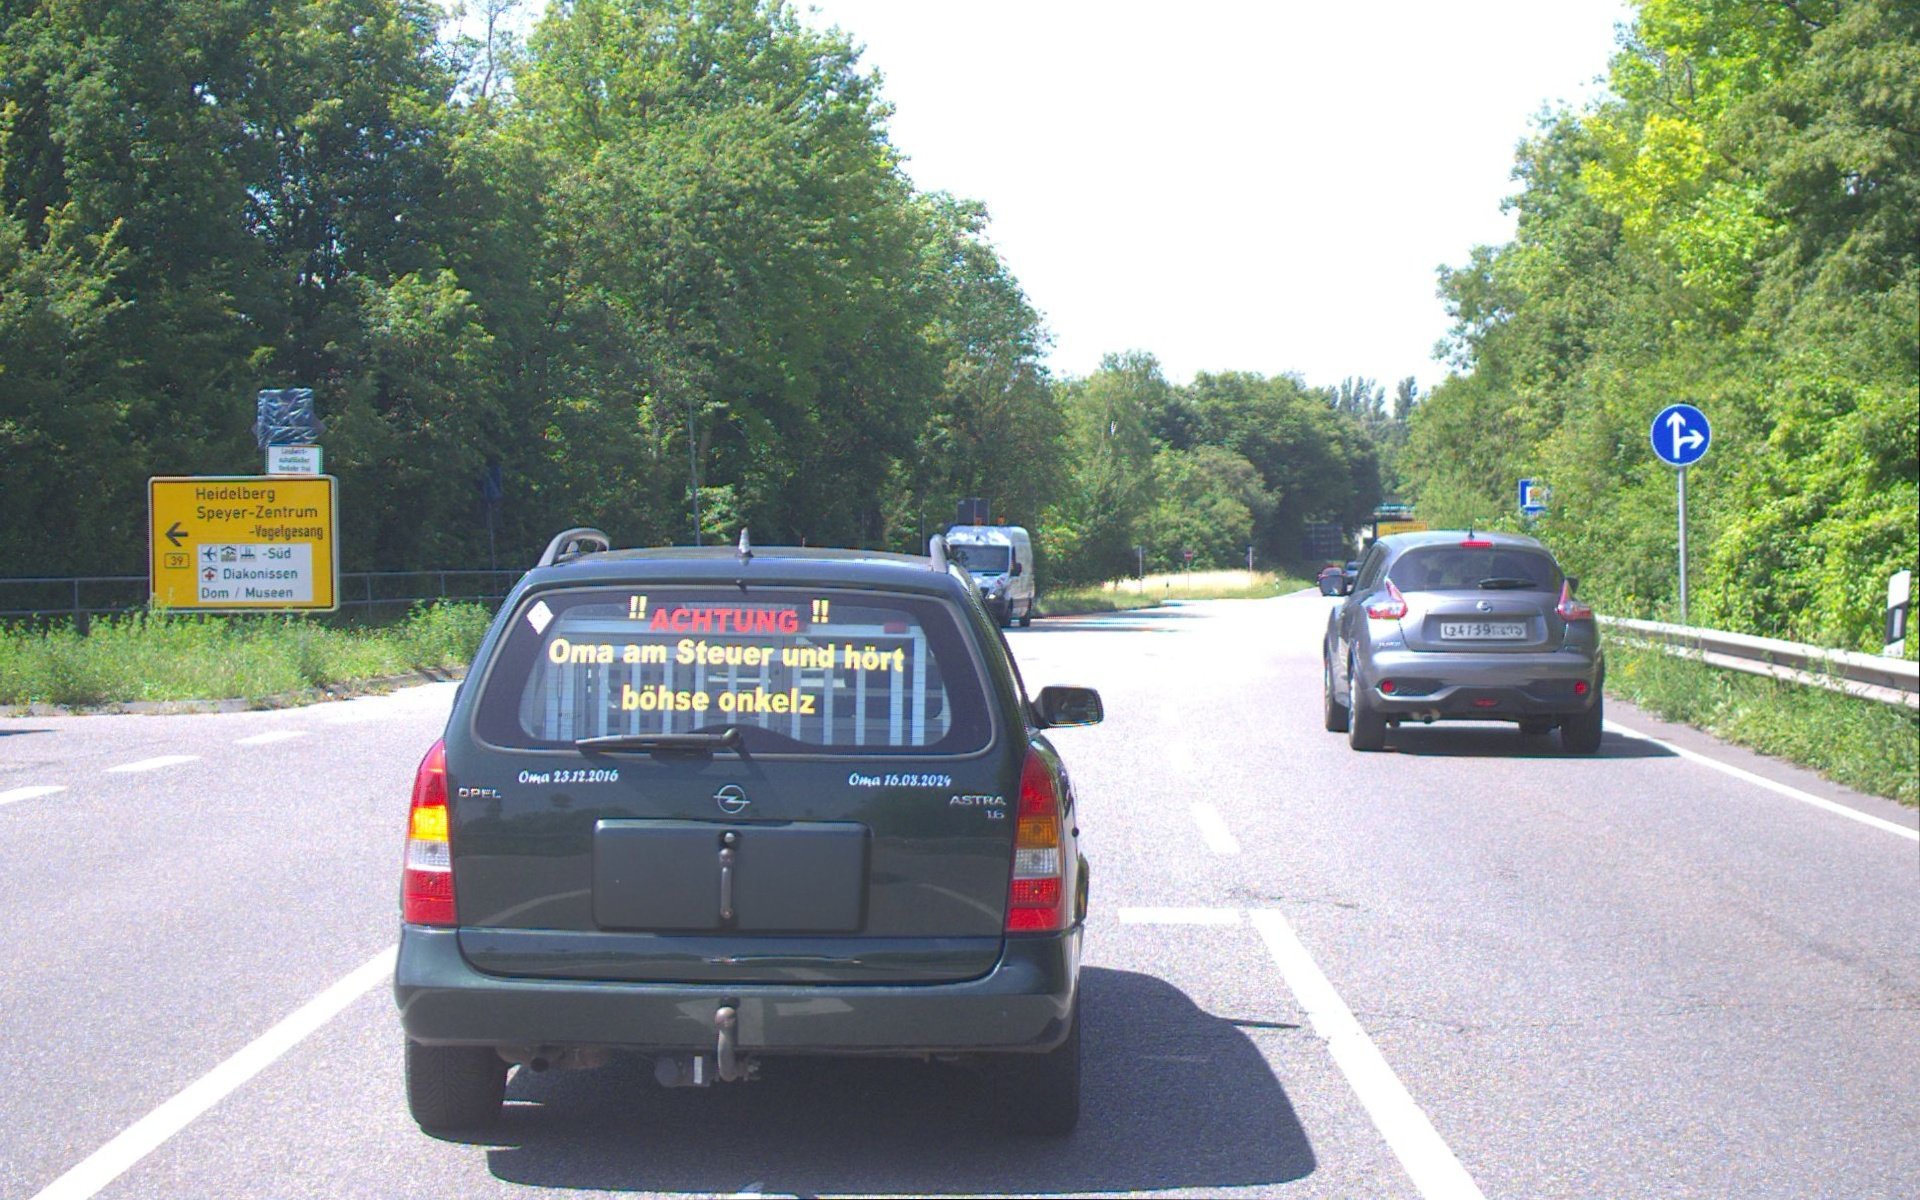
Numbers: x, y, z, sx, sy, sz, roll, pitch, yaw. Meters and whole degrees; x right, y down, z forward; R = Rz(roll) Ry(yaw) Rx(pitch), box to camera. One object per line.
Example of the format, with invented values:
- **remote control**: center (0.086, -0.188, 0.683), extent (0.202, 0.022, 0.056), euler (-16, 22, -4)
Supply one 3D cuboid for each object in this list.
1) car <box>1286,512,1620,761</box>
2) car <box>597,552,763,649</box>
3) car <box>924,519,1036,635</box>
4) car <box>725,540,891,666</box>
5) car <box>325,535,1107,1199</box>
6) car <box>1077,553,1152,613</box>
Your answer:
- **car**: center (3.550, 0.199, 25.441), extent (1.843, 1.679, 4.001), euler (0, 2, -1)
- **car**: center (-5.065, -0.022, 62.685), extent (1.673, 1.656, 3.997), euler (0, 1, 16)
- **car**: center (0.552, -0.614, 87.210), extent (2.106, 2.840, 6.010), euler (0, 1, 7)
- **car**: center (-1.757, 0.004, 40.822), extent (1.644, 1.414, 3.766), euler (0, 1, 2)
- **car**: center (-0.537, 0.567, 9.479), extent (1.720, 1.452, 3.798), euler (0, 2, 0)
- **car**: center (8.430, -0.976, 188.486), extent (1.993, 3.215, 4.809), euler (-1, 1, -27)
